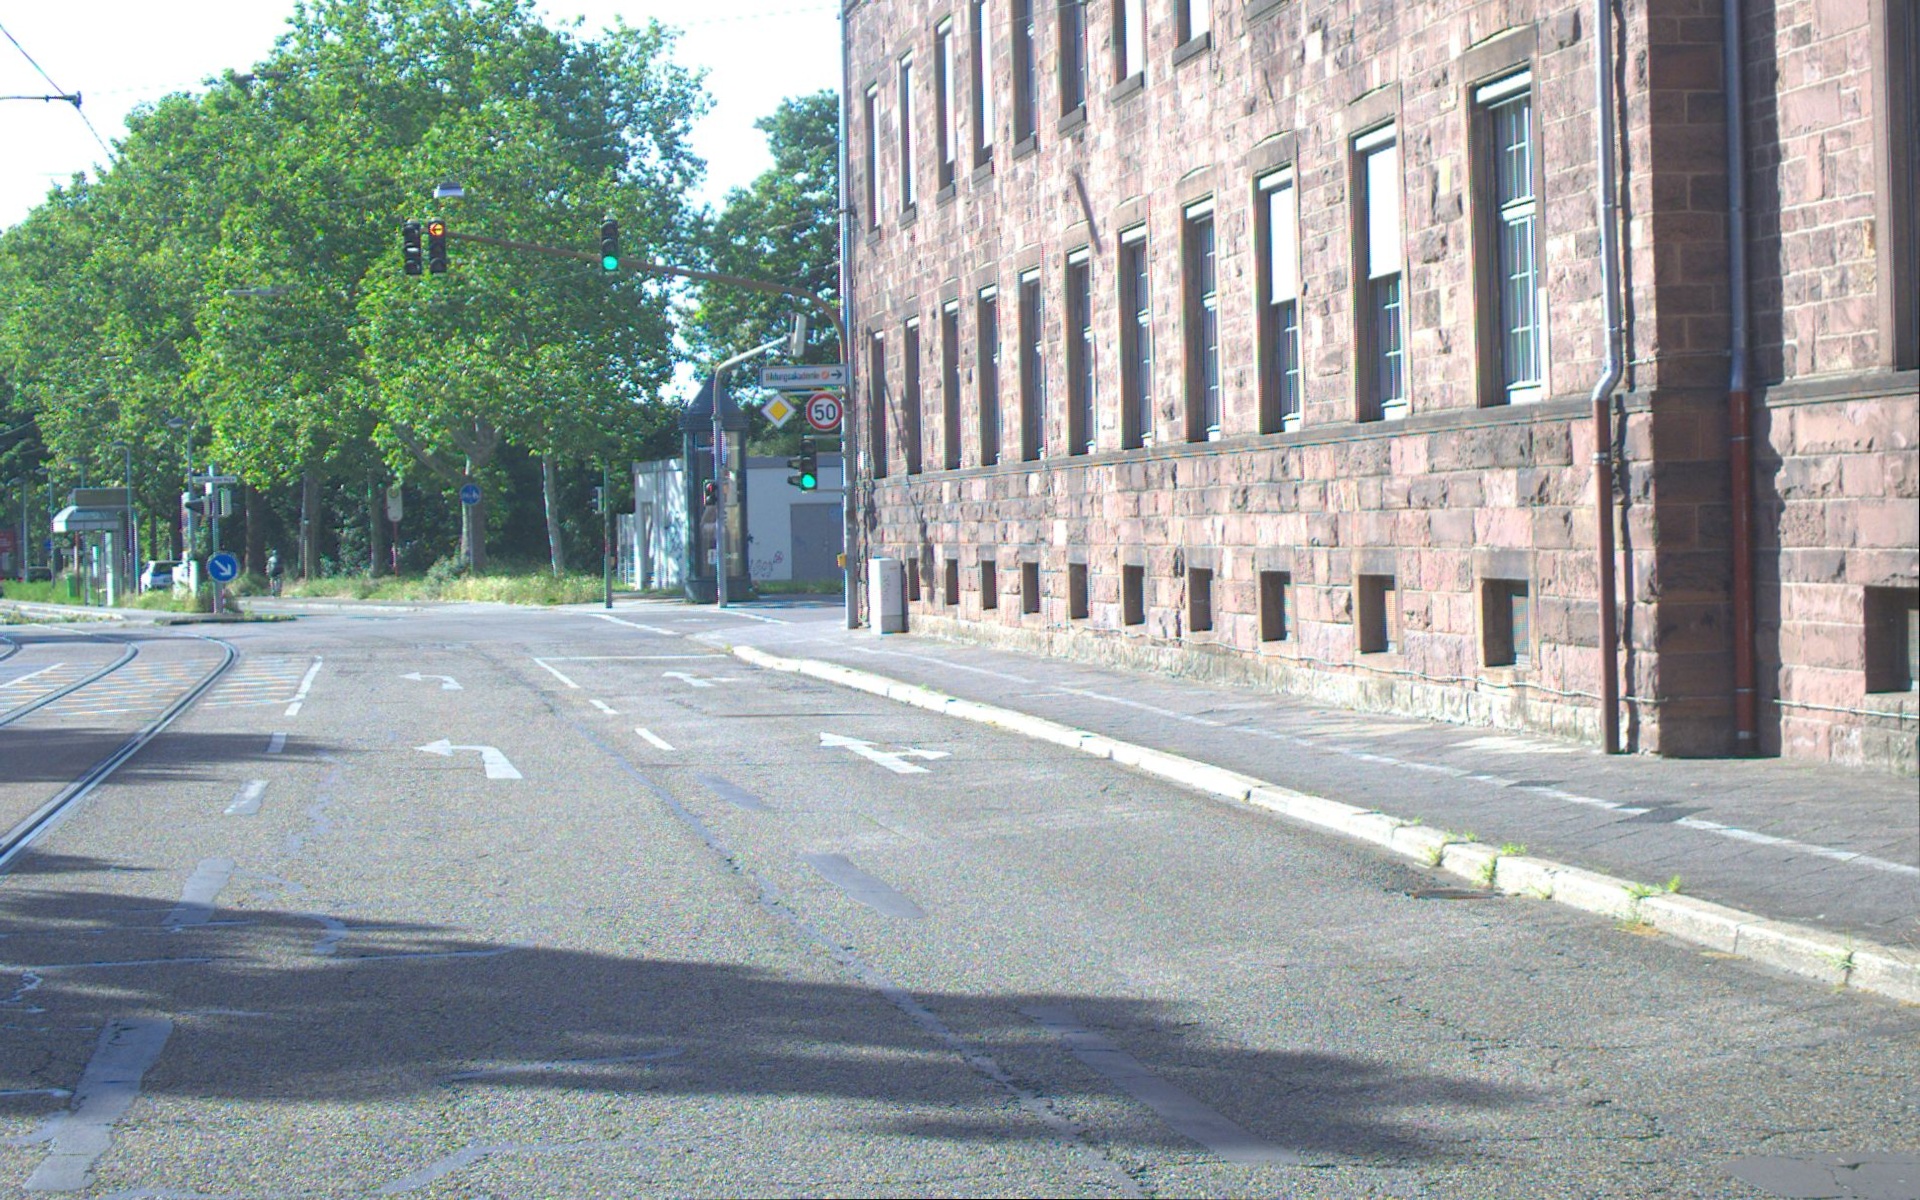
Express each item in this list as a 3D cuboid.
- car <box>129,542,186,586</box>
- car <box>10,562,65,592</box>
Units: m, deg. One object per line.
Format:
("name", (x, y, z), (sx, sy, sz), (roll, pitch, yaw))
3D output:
("car", (-30.244, -1.372, 129.513), (1.942, 1.605, 4.001), (-1, 1, -15))
("car", (-50.719, -1.248, 188.943), (1.942, 1.605, 4.000), (-1, 1, -30))
